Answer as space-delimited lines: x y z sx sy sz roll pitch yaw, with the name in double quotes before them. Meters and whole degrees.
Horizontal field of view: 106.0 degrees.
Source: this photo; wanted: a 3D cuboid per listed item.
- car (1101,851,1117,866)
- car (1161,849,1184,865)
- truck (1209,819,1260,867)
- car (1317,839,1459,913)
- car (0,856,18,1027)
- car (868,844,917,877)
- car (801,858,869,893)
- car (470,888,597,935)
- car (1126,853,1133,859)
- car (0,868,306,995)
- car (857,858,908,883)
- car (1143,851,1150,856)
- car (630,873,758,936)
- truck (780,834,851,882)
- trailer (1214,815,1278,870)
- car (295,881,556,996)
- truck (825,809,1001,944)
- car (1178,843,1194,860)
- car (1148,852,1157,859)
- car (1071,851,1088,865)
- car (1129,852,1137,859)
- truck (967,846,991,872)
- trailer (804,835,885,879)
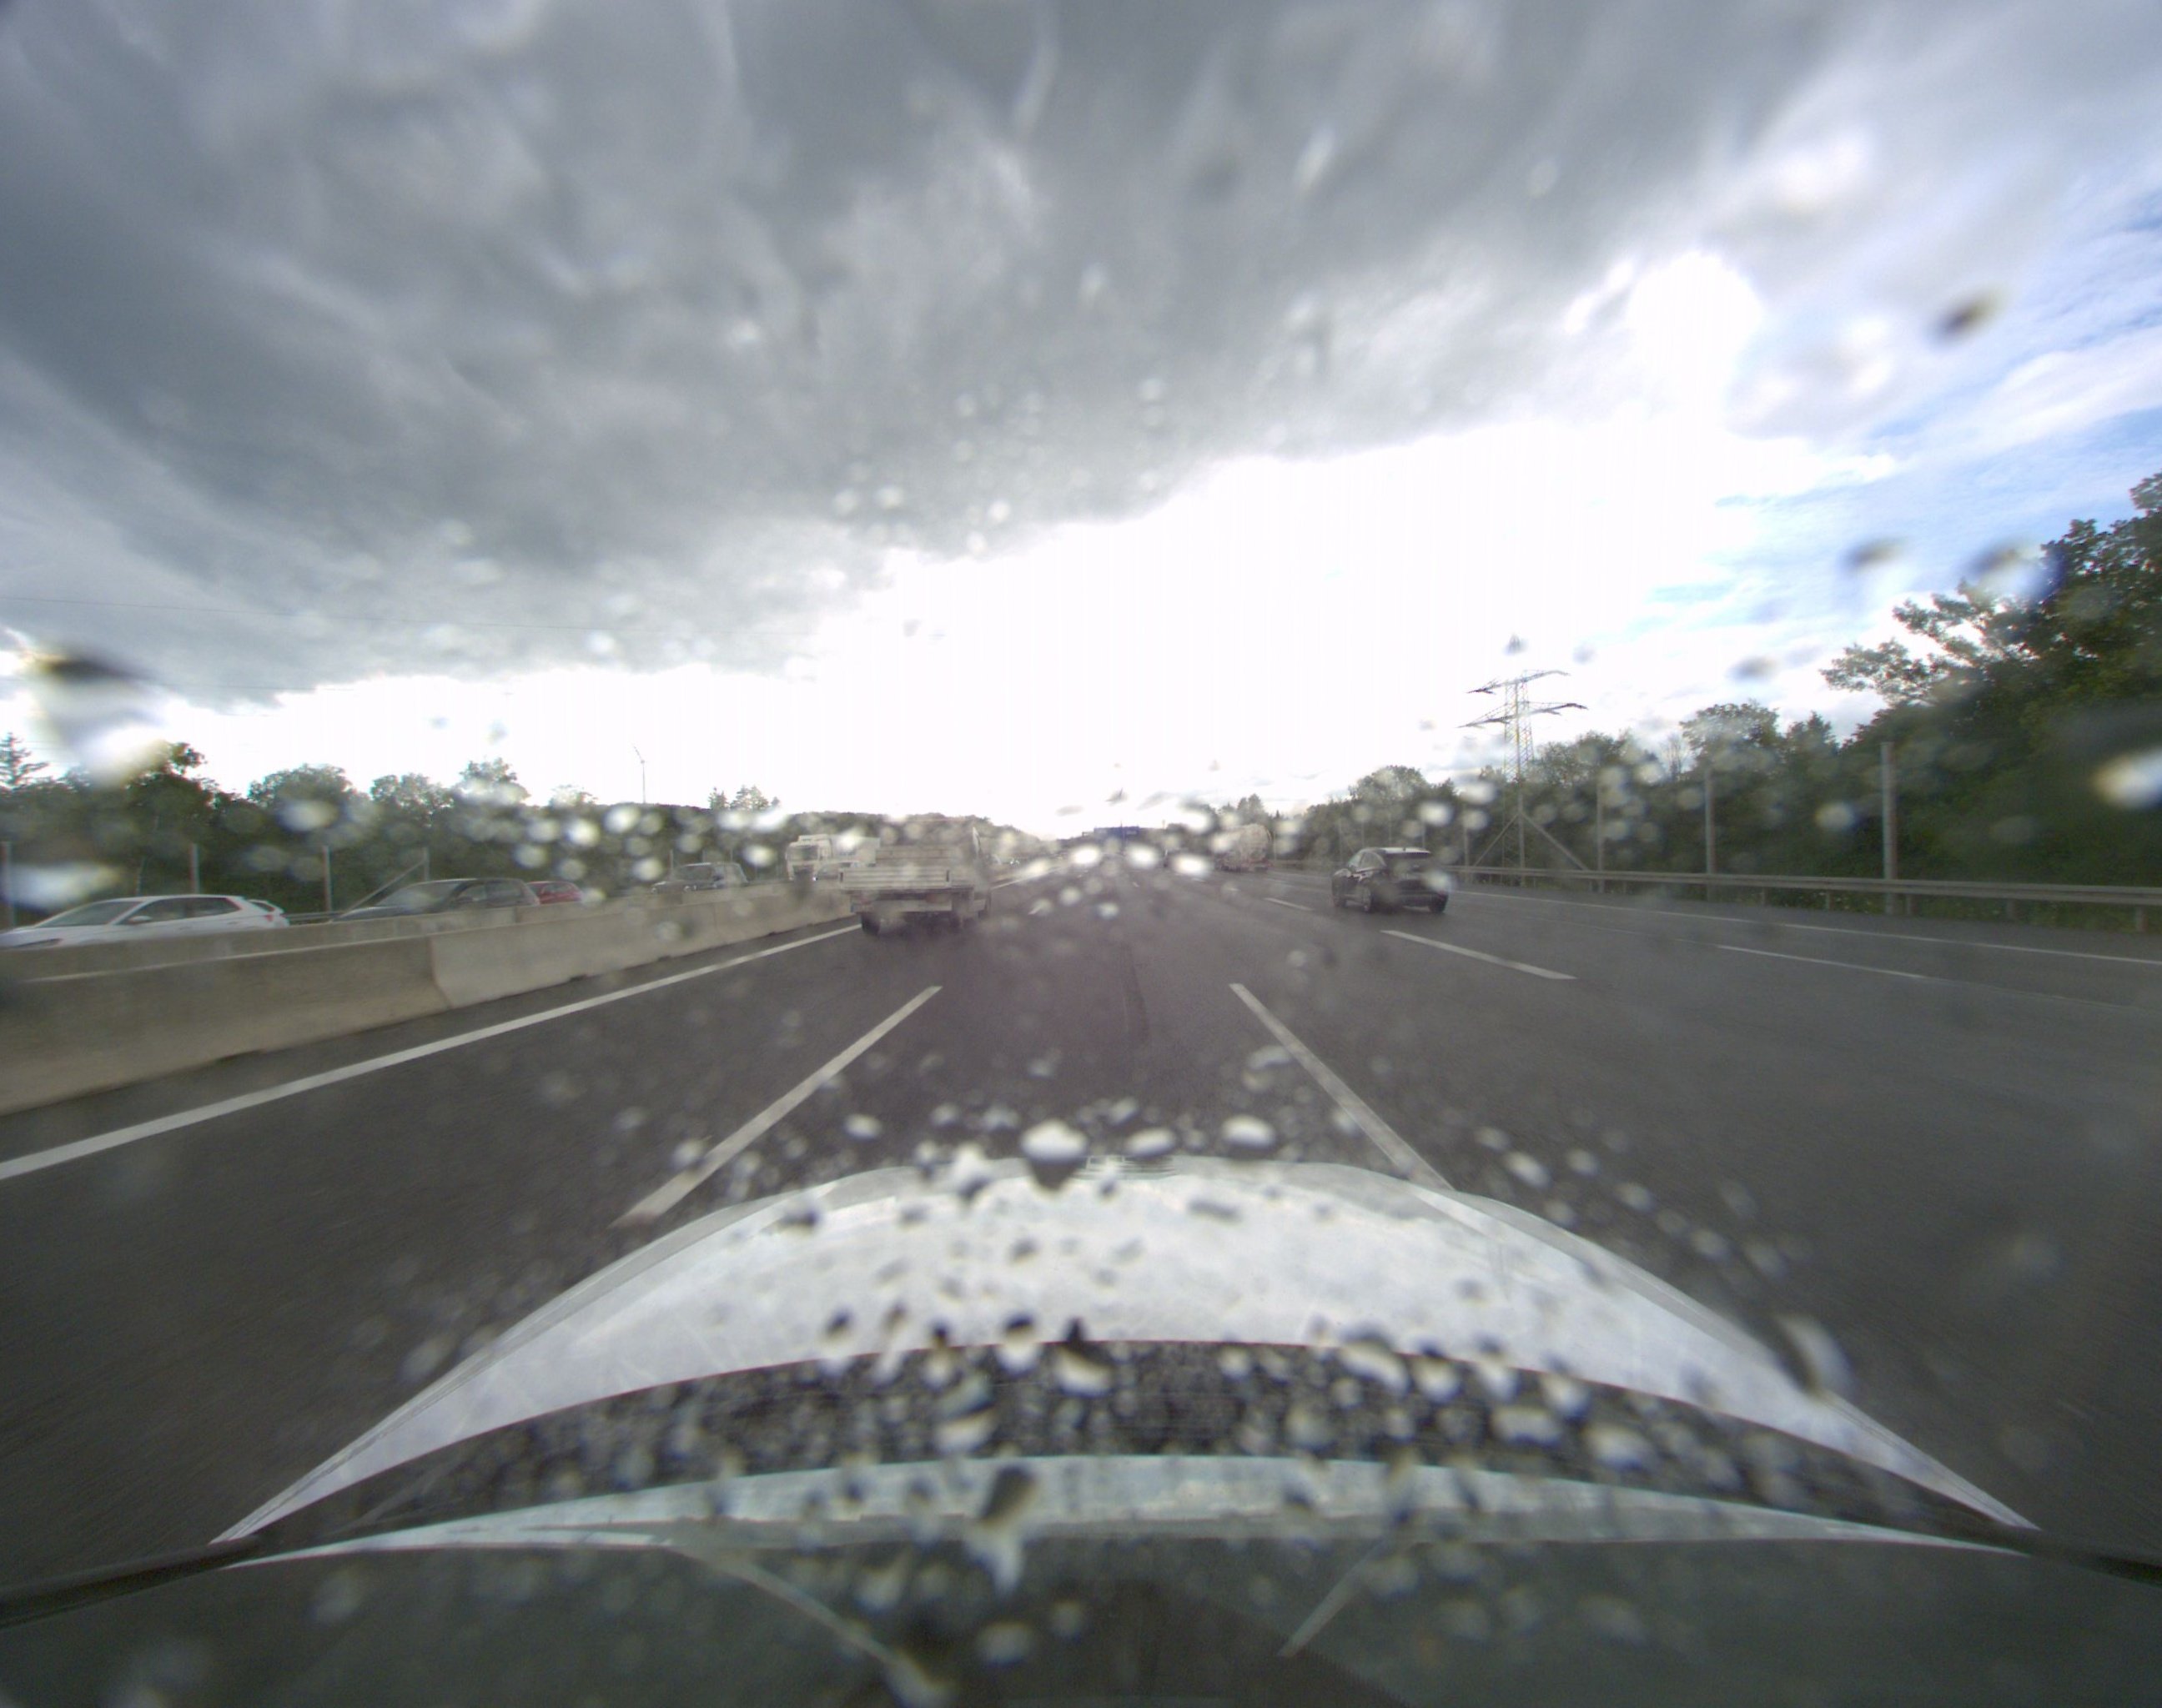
"car" 3.607 0.559 104.058 2.037 1.699 4.002 -1 1 2
"car" 10.490 0.303 93.677 2.092 1.699 3.998 -1 1 -2
"truck" 13.864 -0.968 74.355 3.320 4.080 8.275 -1 0 2
"car" 7.843 0.479 21.374 2.037 1.699 5.010 0 1 2
"car" -13.393 1.018 6.787 2.108 1.937 5.217 -1 0 2
"car" -23.917 0.824 104.213 3.190 3.947 11.662 -1 0 2
"car" -12.646 1.081 42.161 1.887 1.623 4.847 -1 0 2
"car" -20.533 2.105 30.772 1.863 1.457 4.142 -1 0 2
"car" 15.065 0.515 253.466 1.861 1.728 4.002 -1 0 2
"car" -17.748 1.287 15.258 2.108 1.937 4.428 -1 0 2
"car" -12.645 1.005 52.118 1.843 1.477 5.083 -1 0 2
"car" 20.117 -0.170 250.406 2.037 1.699 4.003 -1 1 3
"car" -12.671 1.582 27.034 1.863 1.759 4.708 -1 0 2
"truck" -19.995 0.248 61.768 3.032 3.406 6.530 -1 0 2
"trailer" 13.630 -0.930 68.450 3.320 4.175 11.844 -1 0 2
"car" -13.382 1.622 17.027 2.108 1.937 4.002 -1 0 2
"truck" -3.389 0.366 18.383 2.345 2.408 7.358 0 1 1
"car" 16.700 -0.432 129.347 2.037 2.498 4.002 -1 1 1
"car" 18.673 0.430 213.628 1.986 1.750 4.498 -1 0 2
"car" -0.192 0.479 103.934 2.037 1.699 4.002 -1 1 1
"car" 13.516 0.413 213.577 2.037 1.699 4.003 -1 1 3
"truck" -14.379 0.705 115.034 2.175 3.519 7.494 -1 0 2
"trailer" -19.754 0.185 68.916 3.013 3.433 11.781 -1 0 2
